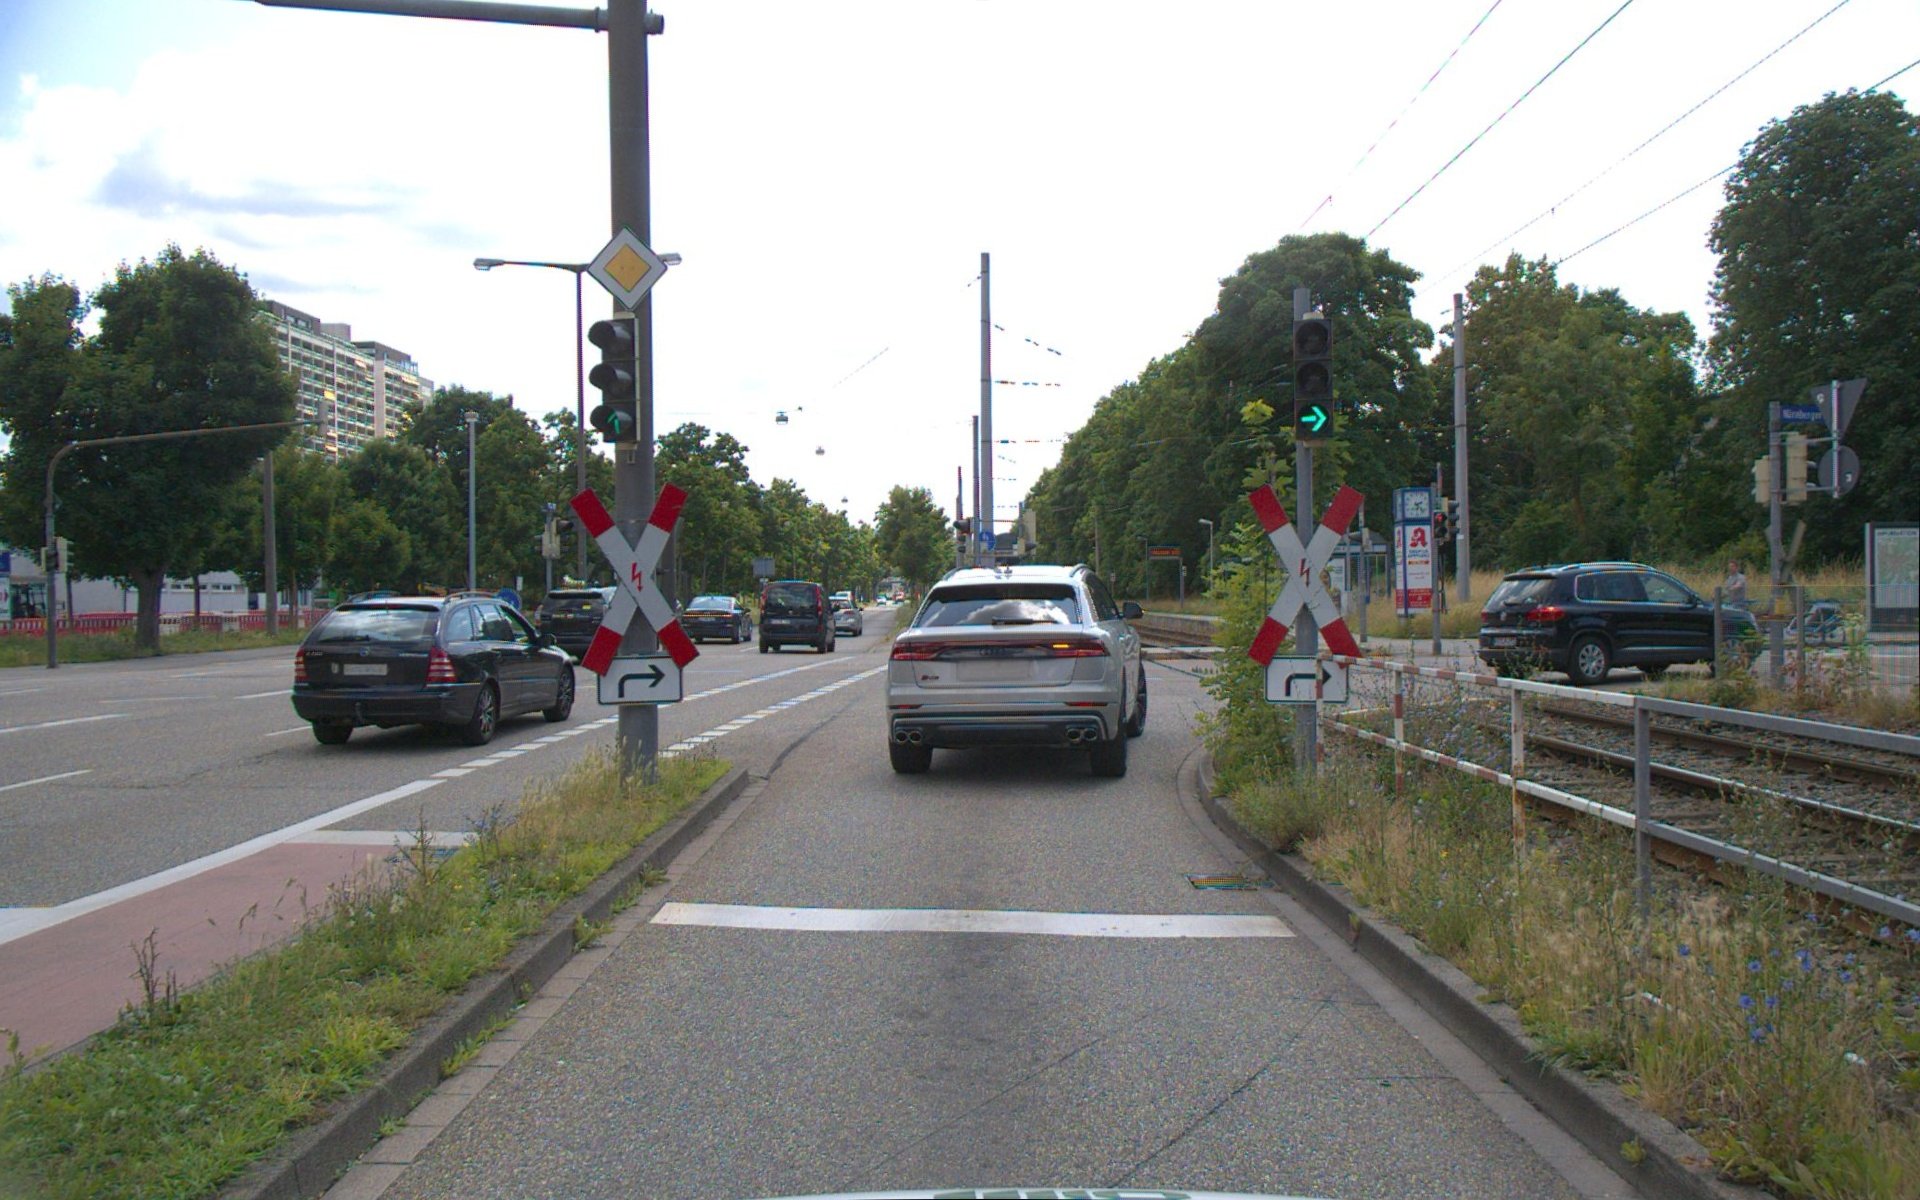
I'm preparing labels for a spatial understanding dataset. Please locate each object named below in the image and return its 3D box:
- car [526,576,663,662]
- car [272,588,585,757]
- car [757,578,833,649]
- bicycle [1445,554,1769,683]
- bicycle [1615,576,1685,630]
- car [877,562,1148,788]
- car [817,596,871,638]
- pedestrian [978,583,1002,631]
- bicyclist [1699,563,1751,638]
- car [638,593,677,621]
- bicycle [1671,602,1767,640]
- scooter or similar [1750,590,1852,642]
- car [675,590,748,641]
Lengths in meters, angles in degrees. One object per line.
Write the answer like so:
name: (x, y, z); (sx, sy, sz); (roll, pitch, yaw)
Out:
car: (-7.640, 0.384, 34.957); (1.748, 1.697, 4.341); (0, 0, 2)
car: (-5.305, 0.648, 17.147); (1.718, 1.491, 4.434); (-1, 0, 1)
car: (-4.350, 0.345, 44.033); (1.724, 1.808, 3.908); (0, 0, -1)
bicycle: (9.362, 0.230, 23.983); (4.134, 1.704, 1.988); (-1, 0, -21)
bicycle: (15.861, 0.067, 37.997); (1.641, 1.152, 0.693); (-3, 2, -35)
car: (0.653, 0.564, 14.961); (1.939, 1.713, 4.578); (0, 0, 8)
car: (-4.367, 0.628, 62.761); (1.749, 1.552, 4.300); (0, 0, -1)
pedestrian: (0.982, 0.221, 53.819); (0.641, 1.540, 0.717); (-1, 0, -9)
bicyclist: (15.521, 0.004, 33.564); (0.821, 1.501, 0.455); (-1, 0, 2)
car: (-18.191, 0.394, 99.590); (1.749, 1.621, 3.771); (-1, 0, -1)
bicycle: (15.393, 0.425, 33.558); (1.686, 0.778, 0.555); (0, 0, 2)
scooter or similar: (16.927, 0.325, 33.325); (1.542, 0.997, 0.963); (-2, 0, 3)
car: (-7.806, 0.483, 52.251); (1.826, 1.531, 3.998); (0, 0, -2)
